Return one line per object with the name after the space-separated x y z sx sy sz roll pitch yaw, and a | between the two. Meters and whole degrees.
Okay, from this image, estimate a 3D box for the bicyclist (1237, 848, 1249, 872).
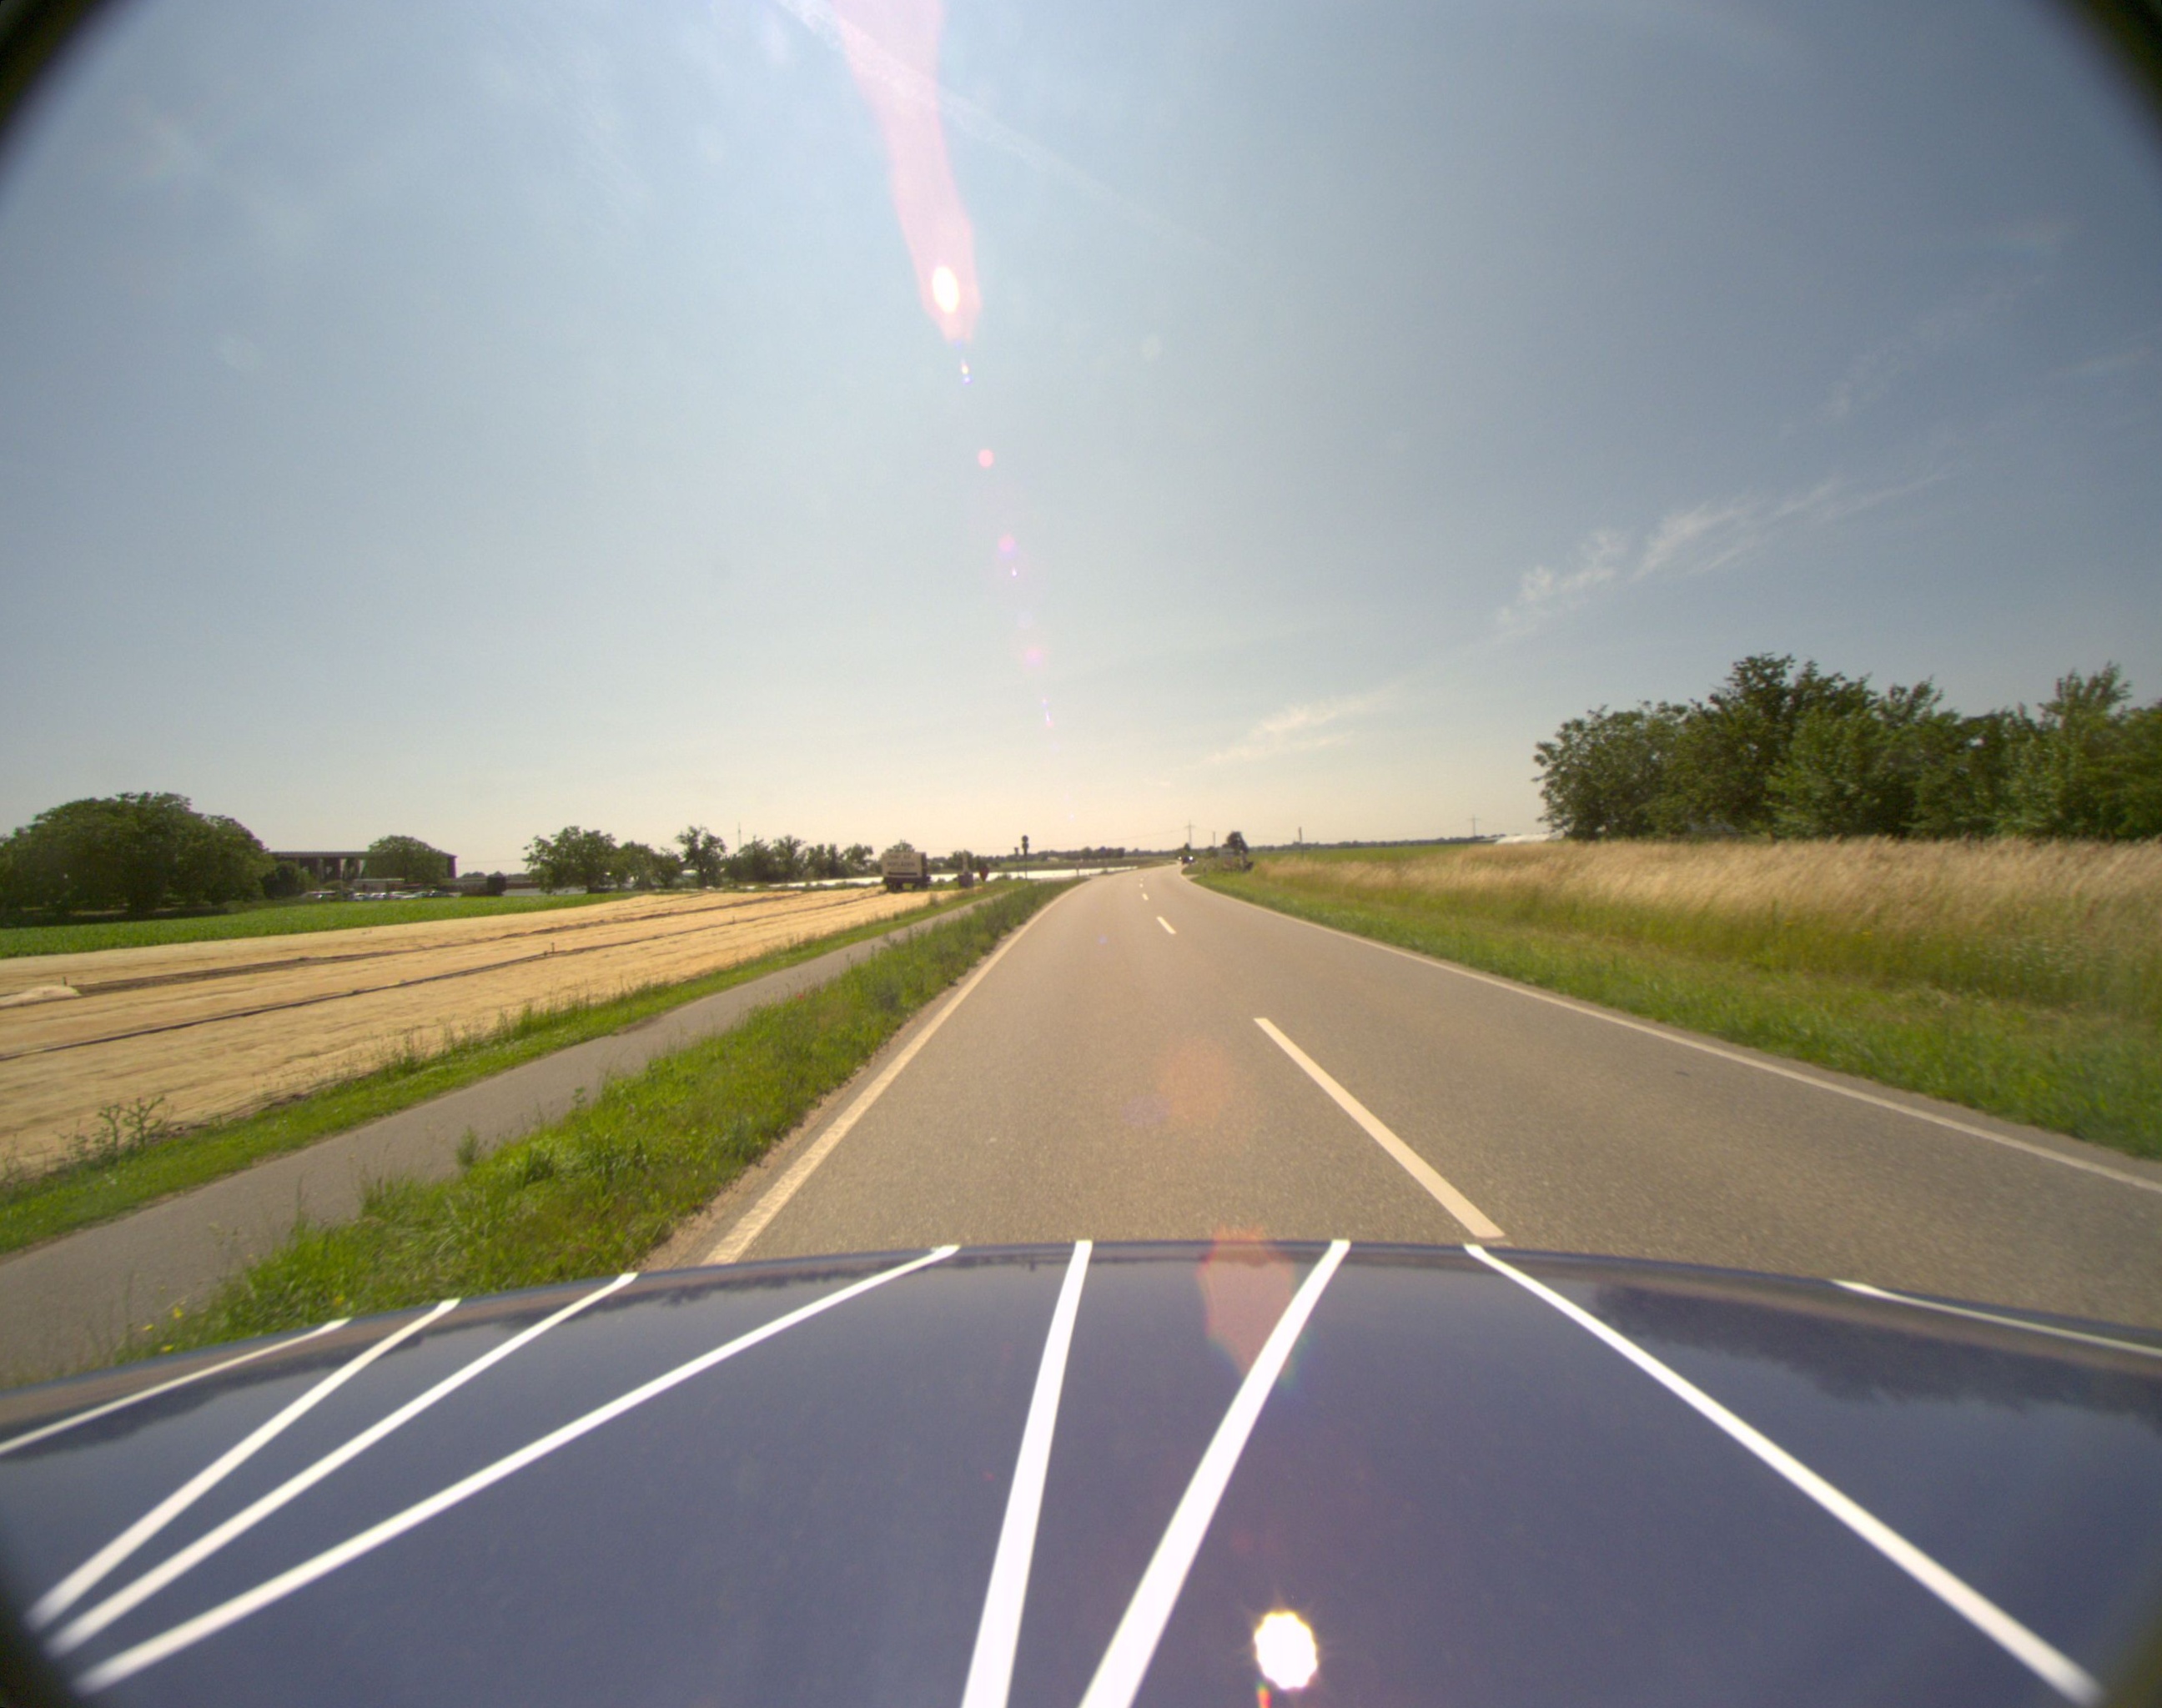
12.138 0.472 56.815 0.700 1.747 0.663 -3 1 17 | bicyclist

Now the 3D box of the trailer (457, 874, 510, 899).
-91.260 4.979 116.043 7.424 3.274 3.264 -3 1 25 | trailer

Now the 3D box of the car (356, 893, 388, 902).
-107.315 6.576 115.014 1.294 1.190 3.283 -3 0 15 | car

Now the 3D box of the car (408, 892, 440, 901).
-96.299 6.226 111.430 1.294 1.190 3.283 -3 0 15 | car

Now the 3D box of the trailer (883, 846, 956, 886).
-12.862 0.951 60.591 5.284 2.936 2.002 -2 2 19 | trailer

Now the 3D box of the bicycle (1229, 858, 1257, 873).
12.124 0.843 56.828 1.921 0.986 0.683 -3 1 17 | bicycle

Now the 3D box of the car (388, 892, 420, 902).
-99.210 6.320 111.404 1.294 1.190 3.283 -3 0 15 | car

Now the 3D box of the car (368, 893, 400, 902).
-104.585 6.489 114.077 1.294 1.190 3.283 -3 0 15 | car

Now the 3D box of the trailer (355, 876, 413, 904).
-116.590 5.995 127.124 7.429 4.197 3.160 -3 1 12 | trailer

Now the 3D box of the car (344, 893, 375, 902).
-110.337 6.673 116.241 1.294 1.190 3.283 -3 0 15 | car

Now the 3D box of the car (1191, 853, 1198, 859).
29.424 0.522 196.825 1.744 1.349 4.421 -1 0 10 | car

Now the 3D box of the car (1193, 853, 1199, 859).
34.353 0.595 227.028 1.743 1.523 4.144 -2 0 9 | car

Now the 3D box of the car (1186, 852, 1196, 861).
22.374 0.565 154.826 1.937 1.741 5.208 -1 0 9 | car
